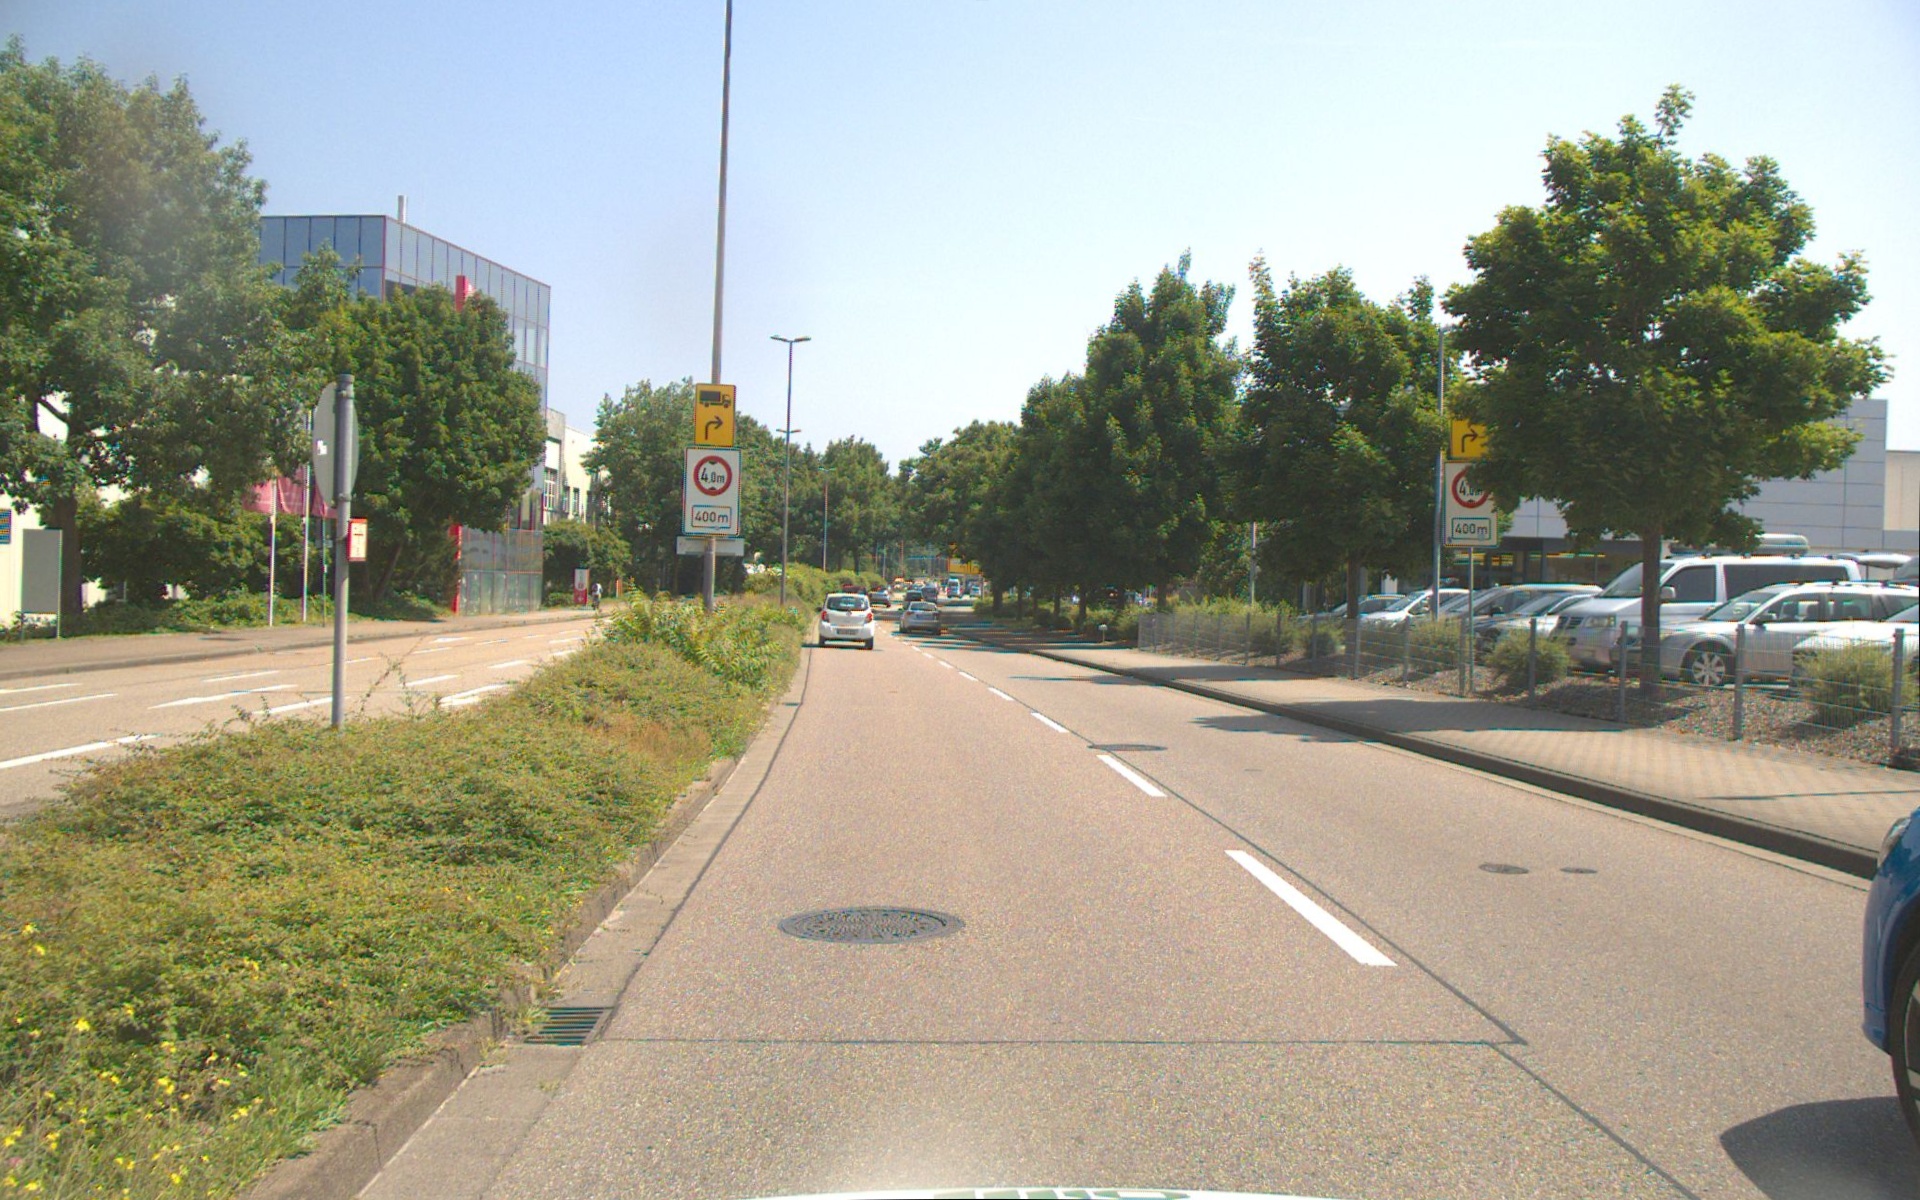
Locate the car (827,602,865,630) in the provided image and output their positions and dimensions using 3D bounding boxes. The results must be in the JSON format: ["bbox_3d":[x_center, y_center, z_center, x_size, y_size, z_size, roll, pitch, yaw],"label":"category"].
[{"bbox_3d":[-5.950,0.829,86.693,1.847,1.378,3.998,3,0,-3],"label":"car"}]

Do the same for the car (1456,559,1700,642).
[{"bbox_3d":[11.599,0.003,31.197,3.907,1.414,1.826,1,0,-3],"label":"car"}]

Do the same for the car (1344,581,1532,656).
[{"bbox_3d":[11.434,0.440,39.724,3.911,1.624,1.824,2,0,-7],"label":"car"}]

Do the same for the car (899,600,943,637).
[{"bbox_3d":[-1.758,0.803,73.930,1.828,1.498,3.998,3,0,-2],"label":"car"}]

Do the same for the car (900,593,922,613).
[{"bbox_3d":[-3.488,0.187,117.628,1.413,1.372,3.457,0,0,-4],"label":"car"}]

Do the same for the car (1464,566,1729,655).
[{"bbox_3d":[11.042,0.177,28.868,3.907,1.414,1.826,1,0,-3],"label":"car"}]

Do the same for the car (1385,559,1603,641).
[{"bbox_3d":[11.032,0.024,34.347,3.907,1.561,1.825,1,-1,-3],"label":"car"}]

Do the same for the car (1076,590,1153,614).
[{"bbox_3d":[9.134,0.098,97.960,1.934,1.375,4.650,0,0,-39],"label":"car"}]

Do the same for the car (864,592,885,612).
[{"bbox_3d":[-6.605,0.154,127.202,1.458,1.416,3.304,3,0,-4],"label":"car"}]

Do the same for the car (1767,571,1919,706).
[{"bbox_3d":[11.562,0.454,18.839,3.917,1.446,1.696,1,0,-4],"label":"car"}]

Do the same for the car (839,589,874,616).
[{"bbox_3d":[-6.429,0.147,103.021,1.846,1.636,4.000,0,0,1],"label":"car"}]

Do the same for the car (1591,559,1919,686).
[{"bbox_3d":[11.376,0.309,23.281,4.278,1.620,1.826,1,0,-1],"label":"car"}]

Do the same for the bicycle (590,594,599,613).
[{"bbox_3d":[-20.979,0.217,94.907,0.339,1.086,0.922,0,0,-4],"label":"bicycle"}]

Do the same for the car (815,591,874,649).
[{"bbox_3d":[-3.336,0.568,48.178,1.606,1.579,3.323,2,0,-3],"label":"car"}]

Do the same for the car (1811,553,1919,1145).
[{"bbox_3d":[3.571,0.678,2.918,1.772,1.620,4.347,0,0,-2],"label":"car"}]

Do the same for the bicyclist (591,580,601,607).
[{"bbox_3d":[-20.899,-0.370,94.942,0.534,1.536,0.343,0,0,-5],"label":"bicyclist"}]

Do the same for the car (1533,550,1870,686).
[{"bbox_3d":[11.668,0.274,26.197,4.525,1.958,1.826,1,0,-3],"label":"car"}]

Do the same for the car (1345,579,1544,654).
[{"bbox_3d":[10.923,0.392,37.413,3.913,1.561,1.823,1,-1,-9],"label":"car"}]
